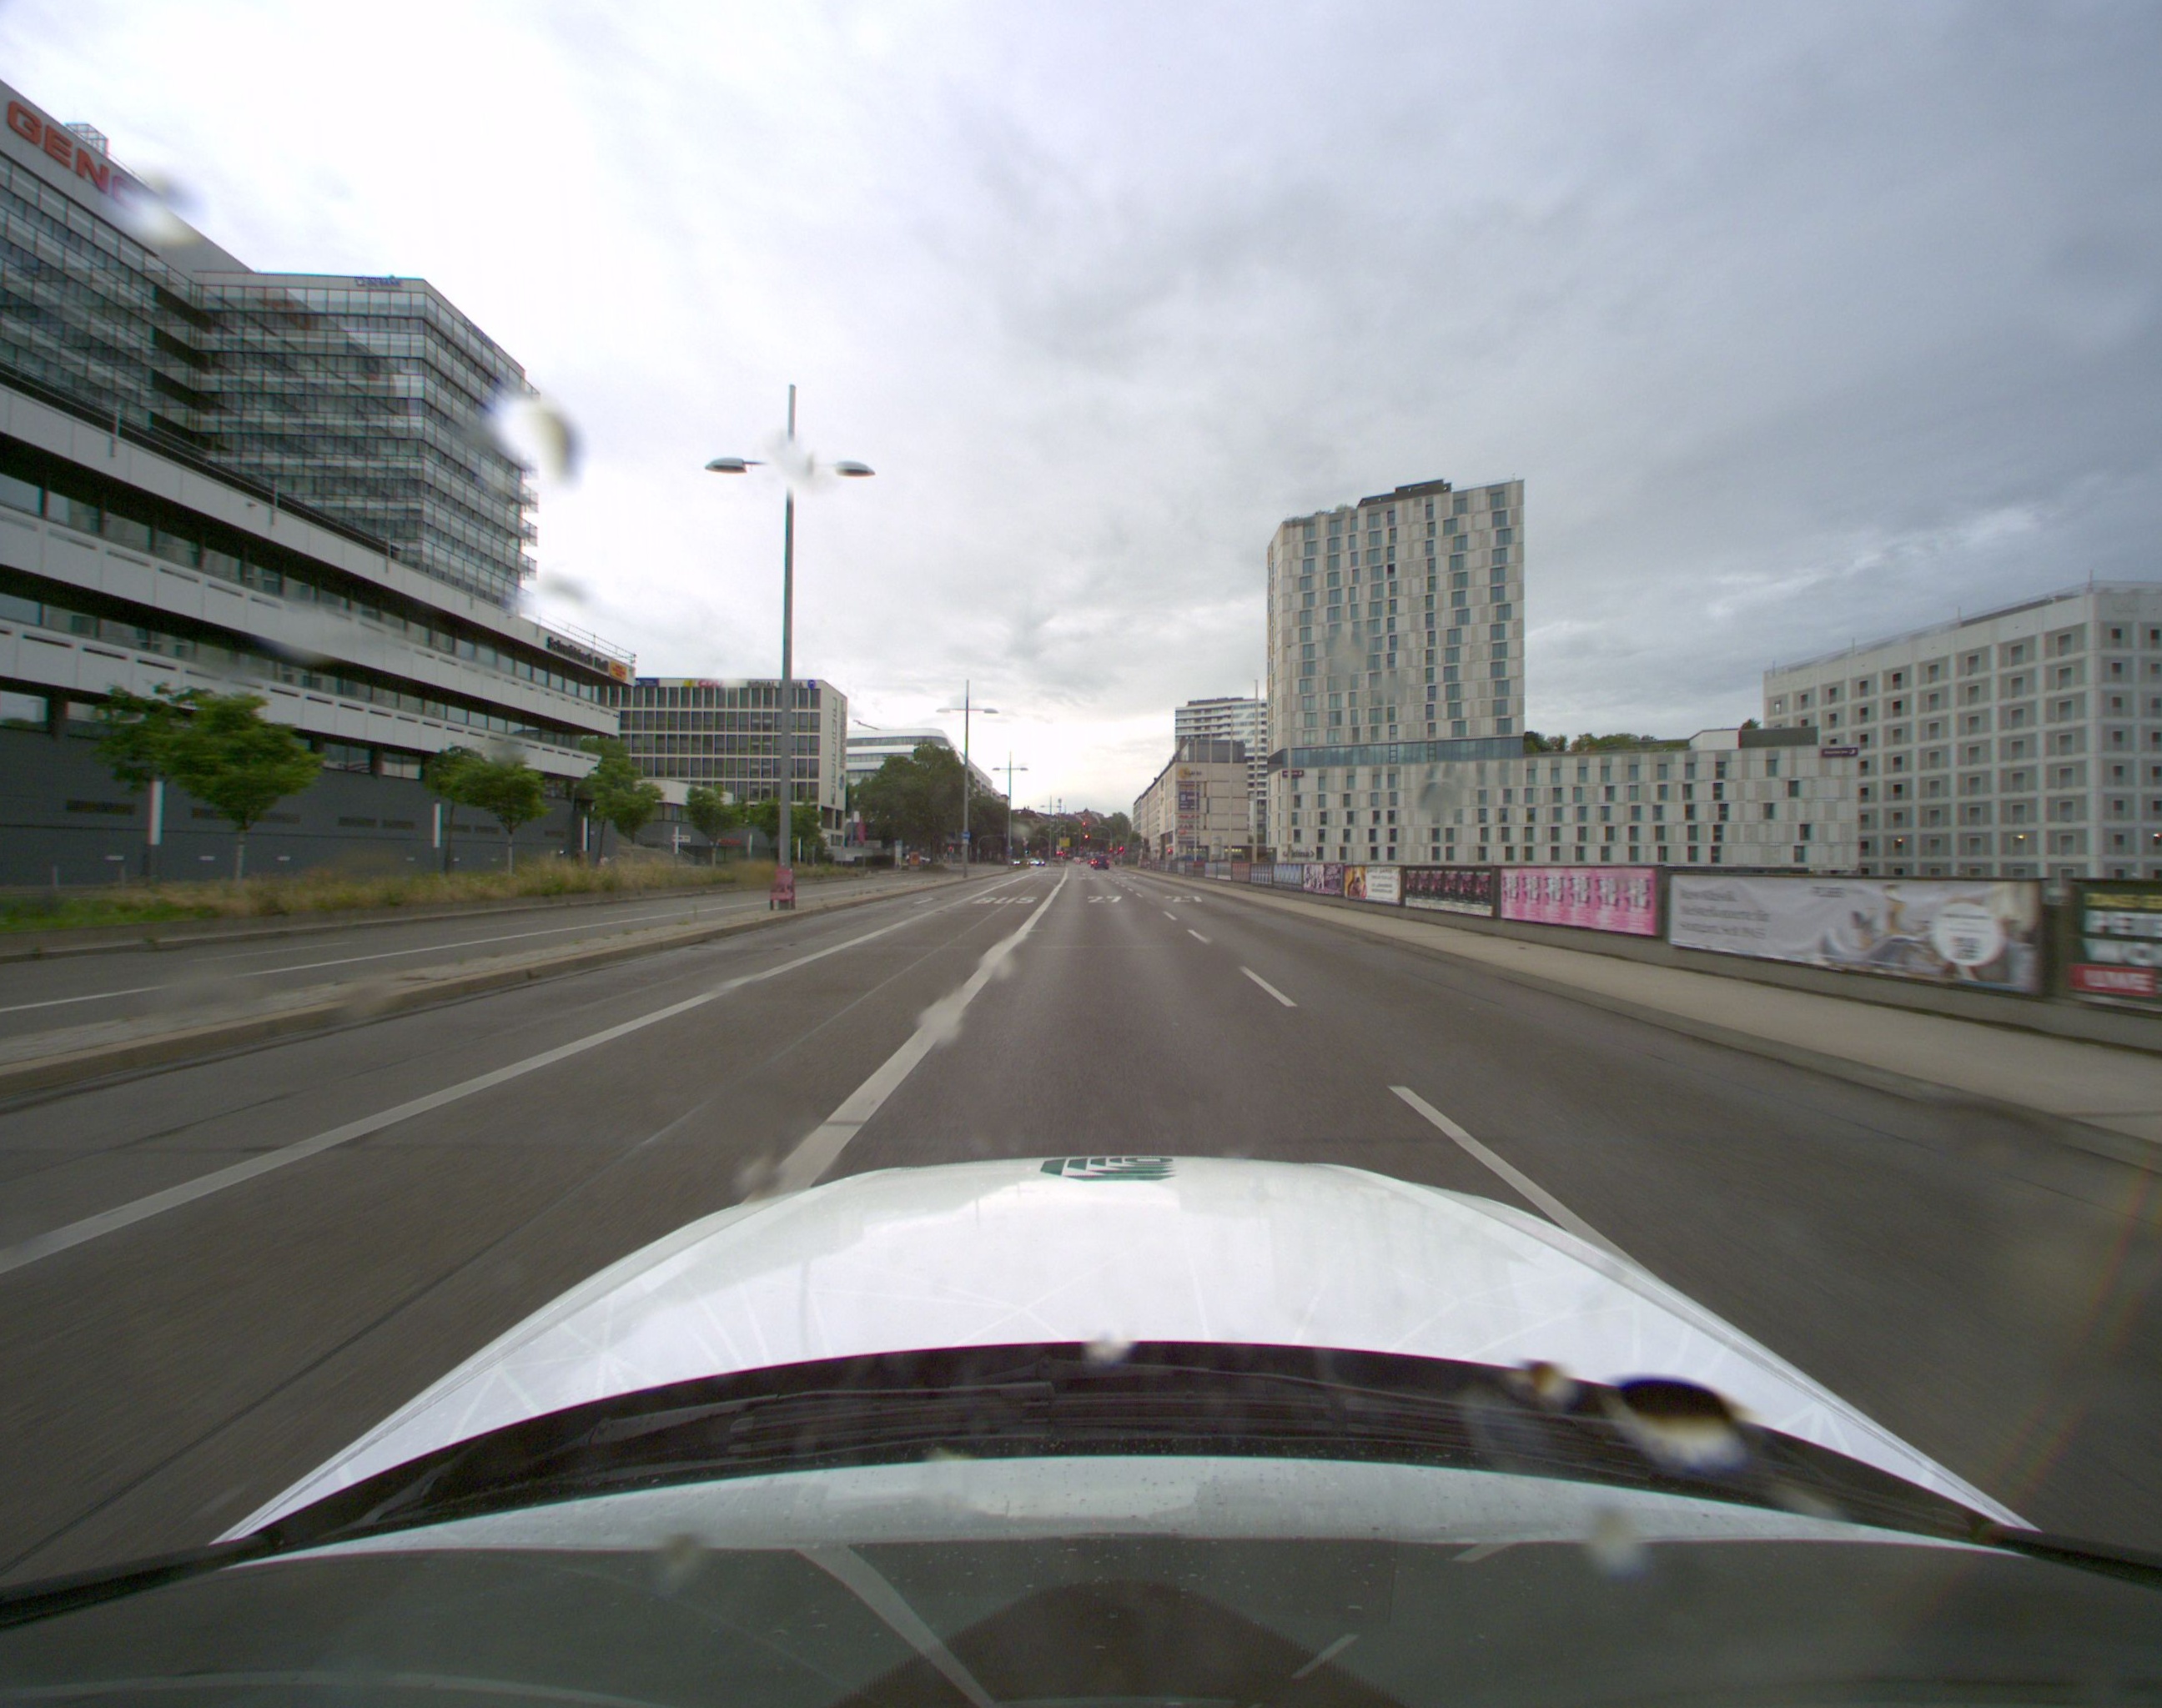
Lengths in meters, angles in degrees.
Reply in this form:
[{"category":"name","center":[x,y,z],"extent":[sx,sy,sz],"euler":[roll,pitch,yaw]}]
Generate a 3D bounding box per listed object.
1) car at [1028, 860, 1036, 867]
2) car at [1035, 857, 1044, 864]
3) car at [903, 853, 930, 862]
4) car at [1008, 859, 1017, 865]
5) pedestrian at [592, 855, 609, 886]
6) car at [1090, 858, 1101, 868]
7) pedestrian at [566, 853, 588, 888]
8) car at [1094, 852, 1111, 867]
[{"category":"car","center":[-12.164,2.301,203.493],"extent":[1.738,1.748,3.538],"euler":[-1,-1,-1]},{"category":"car","center":[-9.251,1.394,180.999],"extent":[1.738,1.444,3.393],"euler":[-1,-1,-1]},{"category":"car","center":[-31.058,0.684,153.886],"extent":[4.468,1.631,1.902],"euler":[-1,-1,15]},{"category":"car","center":[-15.192,1.789,181.587],"extent":[1.738,1.328,4.224],"euler":[-1,-1,0]},{"category":"pedestrian","center":[-28.095,0.977,47.640],"extent":[0.627,1.808,0.628],"euler":[-1,-1,0]},{"category":"car","center":[2.421,1.518,135.515],"extent":[1.734,1.531,3.812],"euler":[-1,-1,0]},{"category":"pedestrian","center":[-26.635,0.868,43.037],"extent":[0.782,1.808,0.628],"euler":[-1,-1,0]},{"category":"car","center":[2.915,0.777,110.785],"extent":[2.026,1.882,5.041],"euler":[-3,0,0]}]
